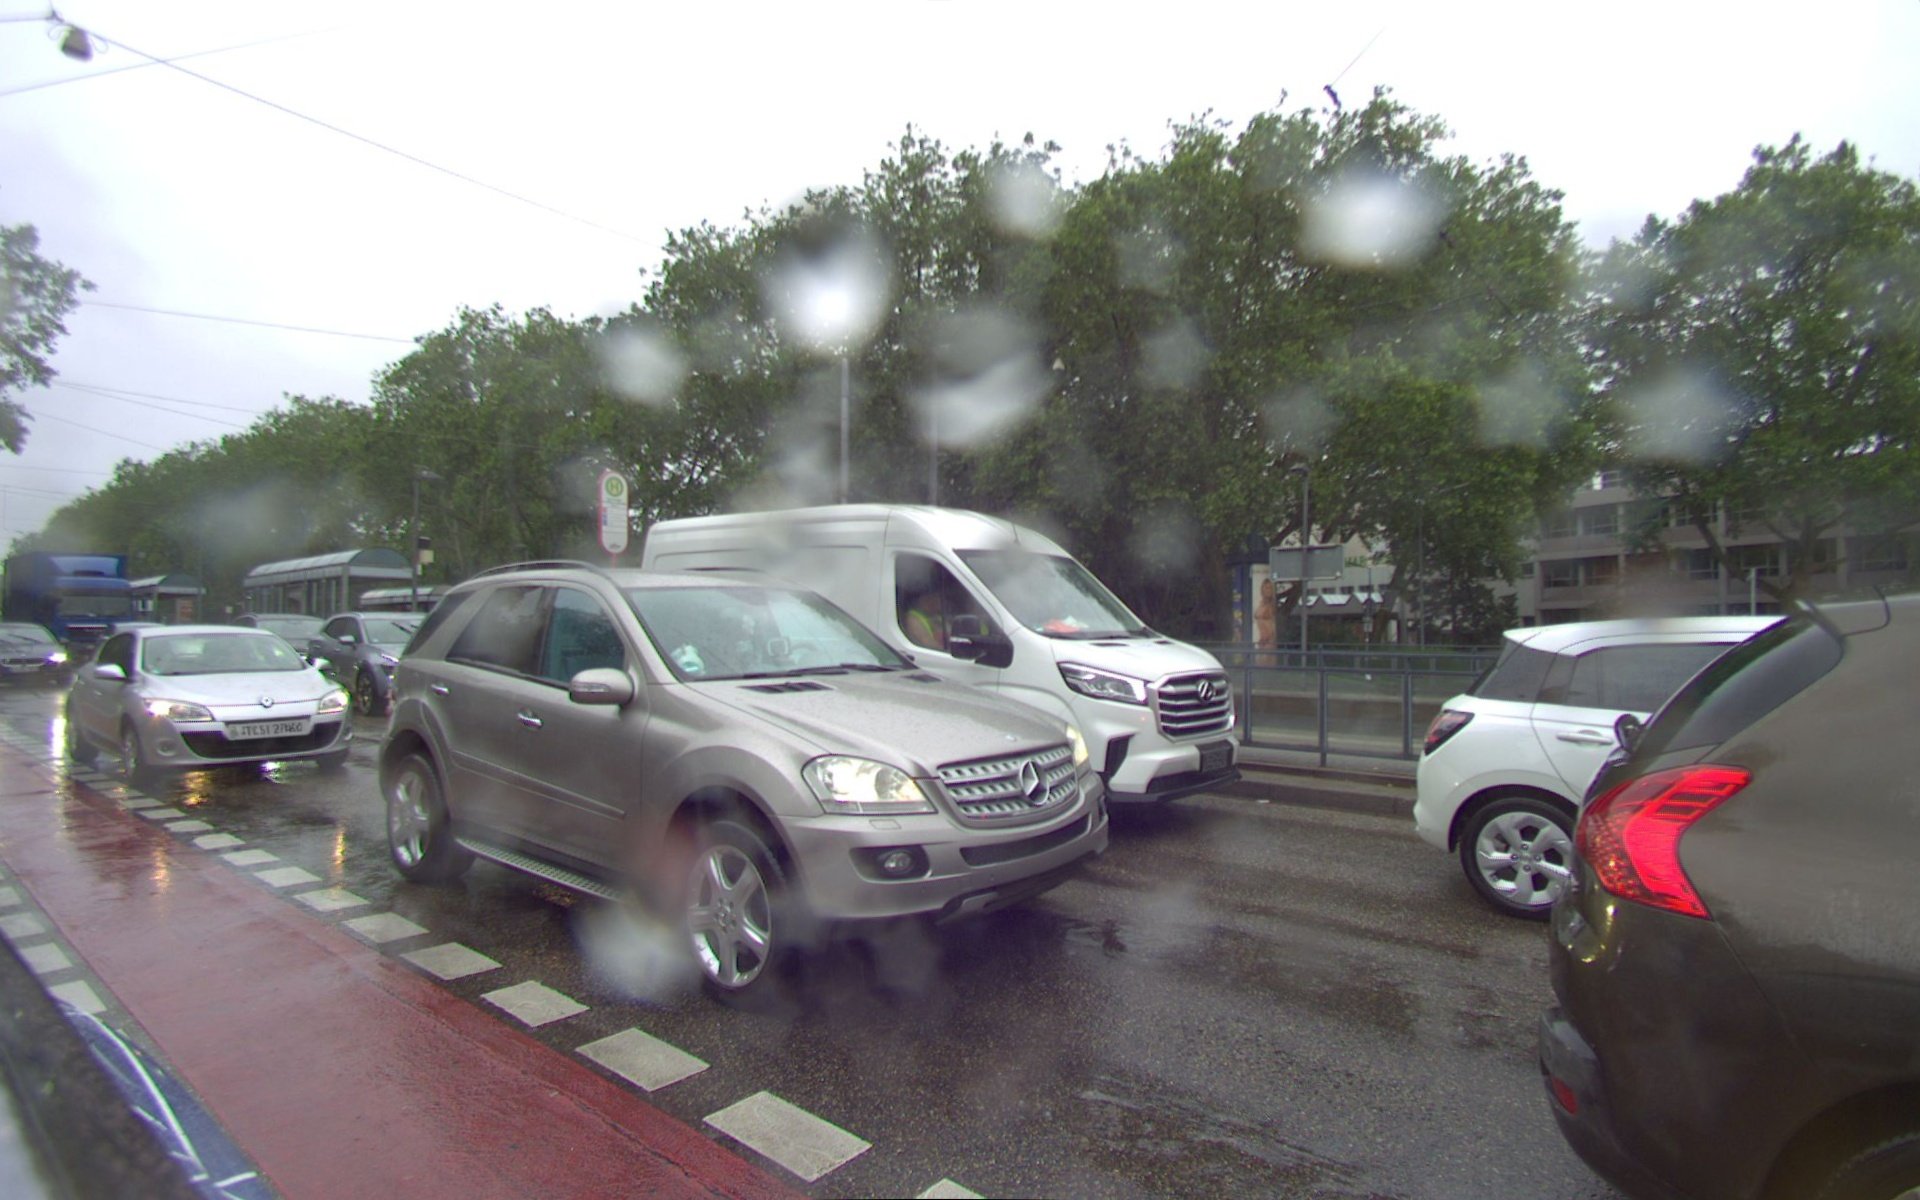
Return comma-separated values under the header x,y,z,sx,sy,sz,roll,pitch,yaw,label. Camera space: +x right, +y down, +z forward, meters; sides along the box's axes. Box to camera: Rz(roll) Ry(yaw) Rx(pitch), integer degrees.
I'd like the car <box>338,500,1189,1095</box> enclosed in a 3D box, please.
x,y,z,sx,sy,sz,roll,pitch,yaw,label
-1.309,0.625,5.259,4.459,1.783,2.004,-1,-1,40,car

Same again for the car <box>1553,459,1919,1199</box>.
x,y,z,sx,sy,sz,roll,pitch,yaw,label
3.293,0.595,1.233,4.170,1.681,1.815,-1,-1,41,car

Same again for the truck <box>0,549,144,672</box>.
x,y,z,sx,sy,sz,roll,pitch,yaw,label
-32.232,0.451,36.345,9.803,3.919,2.513,-1,-3,40,truck

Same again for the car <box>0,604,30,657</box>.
x,y,z,sx,sy,sz,roll,pitch,yaw,label
-46.809,1.469,49.149,5.727,2.445,1.972,-1,0,43,car

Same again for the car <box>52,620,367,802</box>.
x,y,z,sx,sy,sz,roll,pitch,yaw,label
-7.810,0.969,10.407,3.998,1.489,1.750,-1,-1,40,car

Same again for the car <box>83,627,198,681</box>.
x,y,z,sx,sy,sz,roll,pitch,yaw,label
-24.326,1.547,30.000,4.074,1.498,1.871,-1,-2,40,car

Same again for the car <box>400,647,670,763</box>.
x,y,z,sx,sy,sz,roll,pitch,yaw,label
-5.440,1.207,12.707,4.084,1.126,1.448,-1,-1,40,car

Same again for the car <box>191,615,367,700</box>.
x,y,z,sx,sy,sz,roll,pitch,yaw,label
-14.639,1.166,21.676,4.316,1.633,1.974,-1,-2,40,car

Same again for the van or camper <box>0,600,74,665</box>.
x,y,z,sx,sy,sz,roll,pitch,yaw,label
-40.036,1.365,43.547,6.427,2.590,1.973,-1,0,41,van or camper

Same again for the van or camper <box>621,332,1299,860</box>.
x,y,z,sx,sy,sz,roll,pitch,yaw,label
-0.341,0.035,8.758,5.846,3.166,2.136,-1,-2,40,van or camper

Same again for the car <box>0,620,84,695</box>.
x,y,z,sx,sy,sz,roll,pitch,yaw,label
-21.818,1.268,23.293,3.997,1.590,1.875,-1,-2,40,car

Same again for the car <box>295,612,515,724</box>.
x,y,z,sx,sy,sz,roll,pitch,yaw,label
-9.402,1.057,17.001,4.454,1.636,1.894,-1,-2,43,car

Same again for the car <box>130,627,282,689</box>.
x,y,z,sx,sy,sz,roll,pitch,yaw,label
-18.821,1.385,25.202,4.602,1.405,1.973,-1,-3,40,car

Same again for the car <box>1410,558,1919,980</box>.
x,y,z,sx,sy,sz,roll,pitch,yaw,label
4.284,0.670,4.539,3.834,1.641,1.628,-1,-2,41,car
